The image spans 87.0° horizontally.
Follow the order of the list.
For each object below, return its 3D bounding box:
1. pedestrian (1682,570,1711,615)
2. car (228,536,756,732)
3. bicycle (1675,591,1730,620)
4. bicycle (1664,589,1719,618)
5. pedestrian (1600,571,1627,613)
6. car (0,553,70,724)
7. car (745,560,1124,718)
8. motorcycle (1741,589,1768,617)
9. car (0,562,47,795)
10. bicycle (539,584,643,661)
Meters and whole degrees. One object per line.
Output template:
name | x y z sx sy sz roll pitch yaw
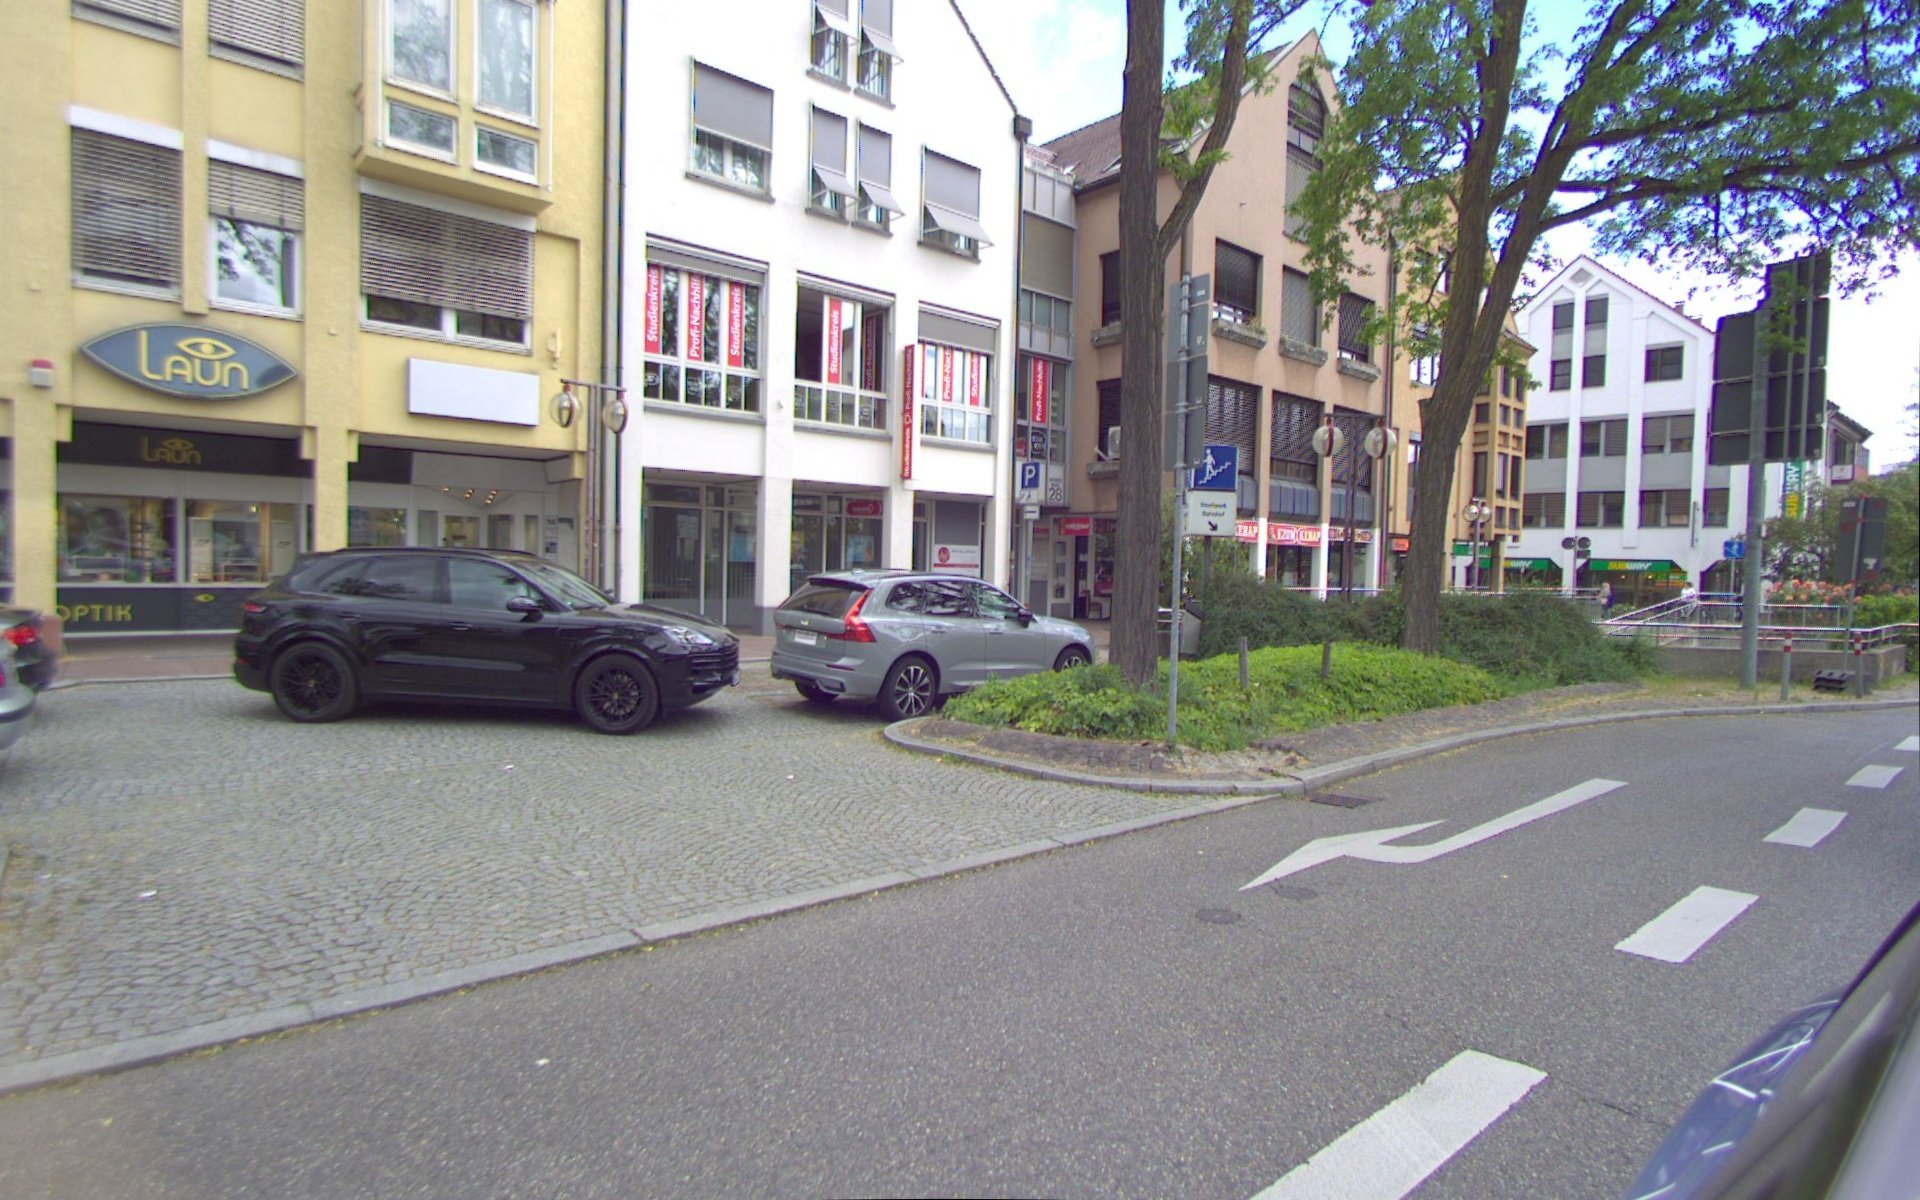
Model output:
pedestrian | 30.778 -0.327 42.293 0.772 1.846 0.869 0 0 -44
car | -4.580 0.286 10.442 4.573 1.690 1.860 2 2 -2
bicycle | 27.234 0.185 37.150 1.584 0.981 0.455 2 2 36
bicycle | 26.588 0.120 36.798 1.584 1.014 0.409 2 2 37
pedestrian | 28.674 -0.347 44.394 0.882 1.779 0.931 2 2 38
car | -9.986 0.297 8.048 4.344 1.393 2.000 0 3 -43
car | -0.159 0.367 12.867 4.685 1.615 1.996 0 2 -44
motorcycle | 31.602 0.098 40.259 1.961 1.081 0.464 0 2 -41
car | -8.181 0.489 5.814 4.344 1.468 1.765 0 2 -43
bicycle | -5.358 0.309 14.742 1.355 1.057 0.393 0 2 -41
